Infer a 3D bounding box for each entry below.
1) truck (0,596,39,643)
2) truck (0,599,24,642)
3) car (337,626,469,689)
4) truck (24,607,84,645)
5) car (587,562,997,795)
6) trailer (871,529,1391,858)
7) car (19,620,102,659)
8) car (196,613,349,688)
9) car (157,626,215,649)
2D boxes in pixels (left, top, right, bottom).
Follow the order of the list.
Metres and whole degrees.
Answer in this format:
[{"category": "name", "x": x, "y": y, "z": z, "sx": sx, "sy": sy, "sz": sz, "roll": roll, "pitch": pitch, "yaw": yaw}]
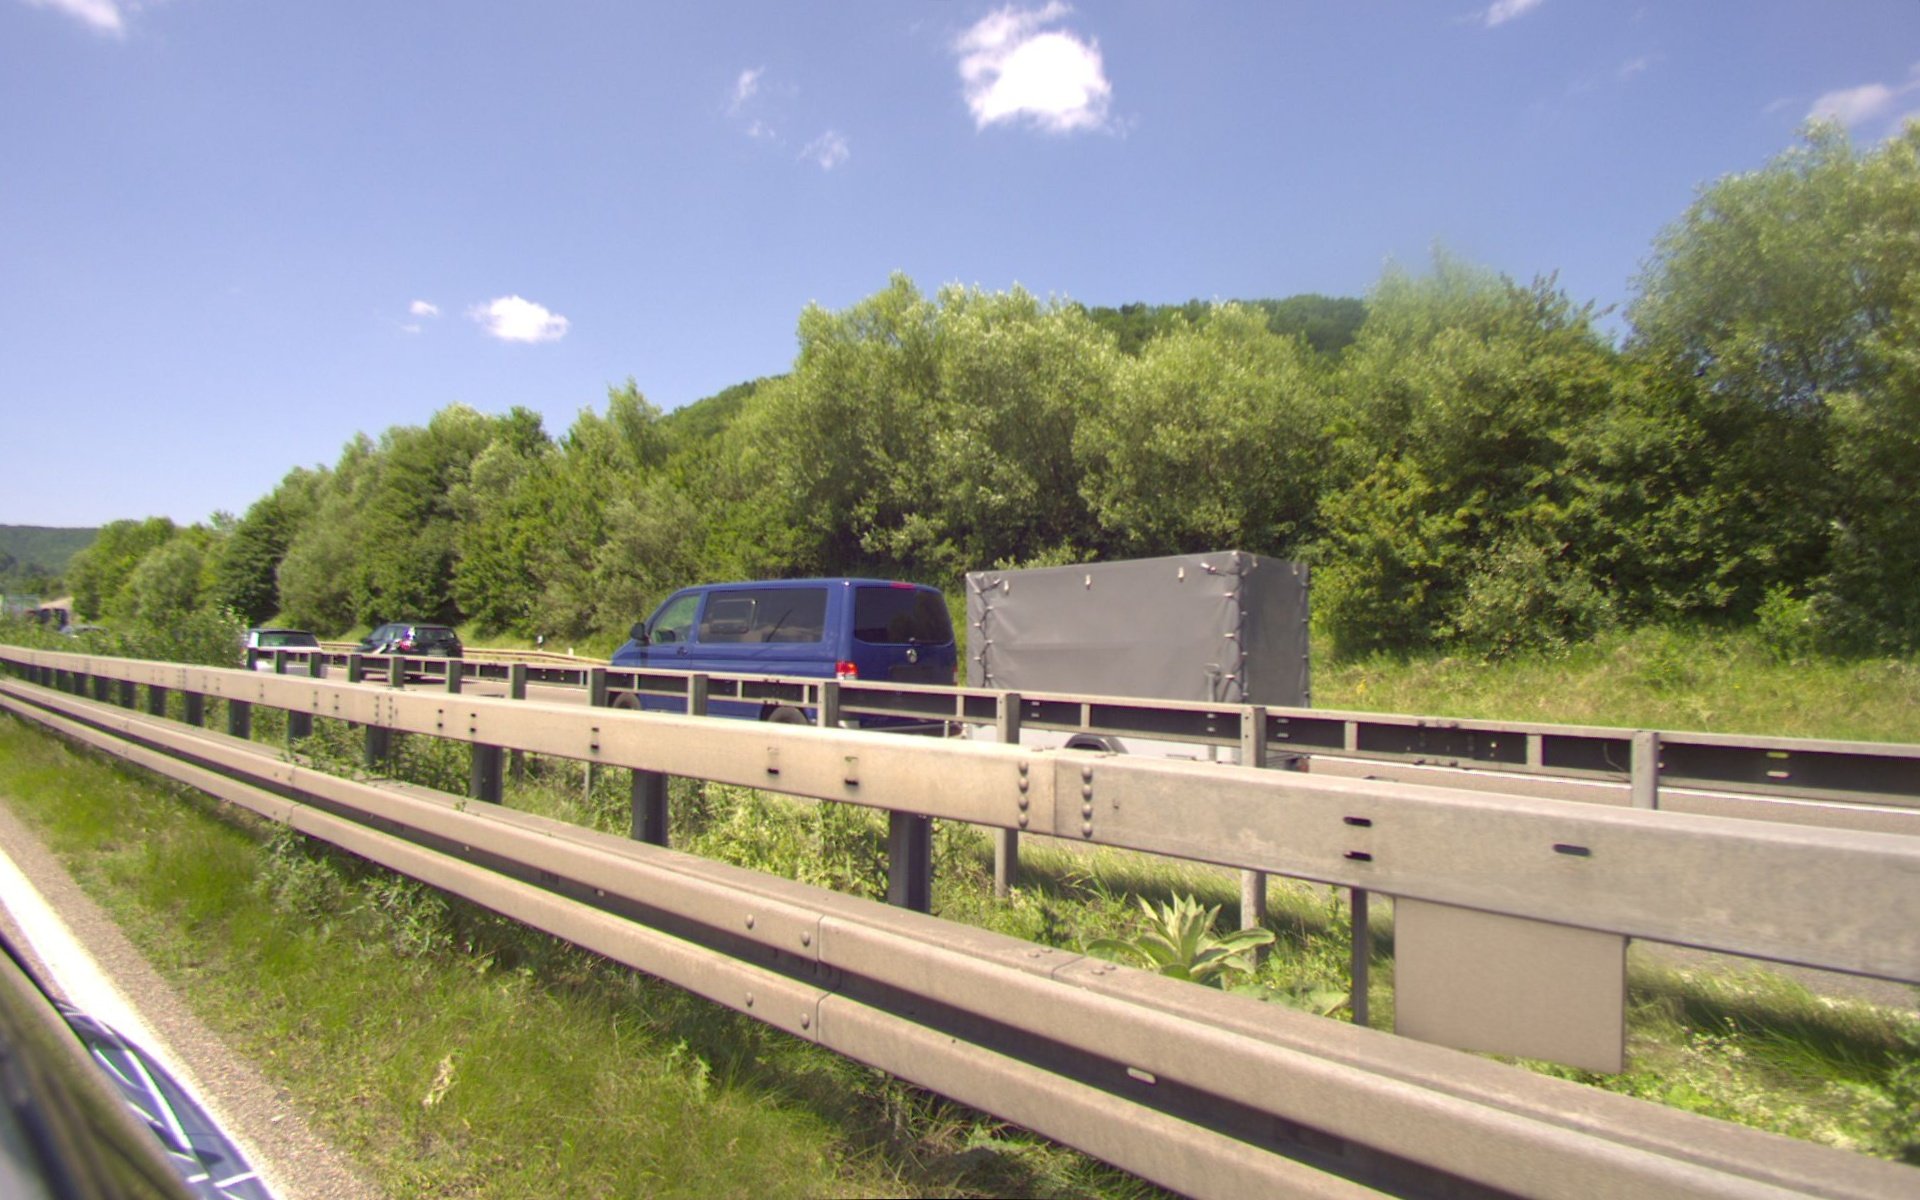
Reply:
[{"category": "truck", "x": -86.094, "y": 1.796, "z": 91.609, "sx": 9.026, "sy": 4.011, "sz": 2.839, "roll": -1, "pitch": -4, "yaw": 41}, {"category": "truck", "x": -93.315, "y": 2.013, "z": 97.950, "sx": 10.165, "sy": 4.037, "sz": 2.839, "roll": -1, "pitch": -2, "yaw": 41}, {"category": "car", "x": -16.097, "y": 1.581, "z": 29.161, "sx": 4.559, "sy": 1.633, "sz": 1.902, "roll": -1, "pitch": -1, "yaw": 41}, {"category": "truck", "x": -65.808, "y": 1.893, "z": 73.442, "sx": 7.964, "sy": 2.608, "sz": 2.272, "roll": -1, "pitch": -2, "yaw": 41}, {"category": "car", "x": -2.072, "y": 0.760, "z": 11.447, "sx": 4.836, "sy": 2.086, "sz": 1.973, "roll": -1, "pitch": -2, "yaw": 41}, {"category": "trailer", "x": 1.293, "y": 0.640, "z": 8.468, "sx": 3.827, "sy": 2.086, "sz": 2.004, "roll": -1, "pitch": -2, "yaw": 41}, {"category": "car", "x": -37.063, "y": 1.580, "z": 41.653, "sx": 4.675, "sy": 1.530, "sz": 1.972, "roll": -1, "pitch": -2, "yaw": 41}, {"category": "car", "x": -16.587, "y": 1.197, "z": 24.350, "sx": 4.272, "sy": 1.626, "sz": 1.972, "roll": -1, "pitch": -4, "yaw": 41}, {"category": "car", "x": -48.013, "y": 2.328, "z": 62.730, "sx": 4.103, "sy": 1.366, "sz": 1.974, "roll": -1, "pitch": -2, "yaw": 39}]
